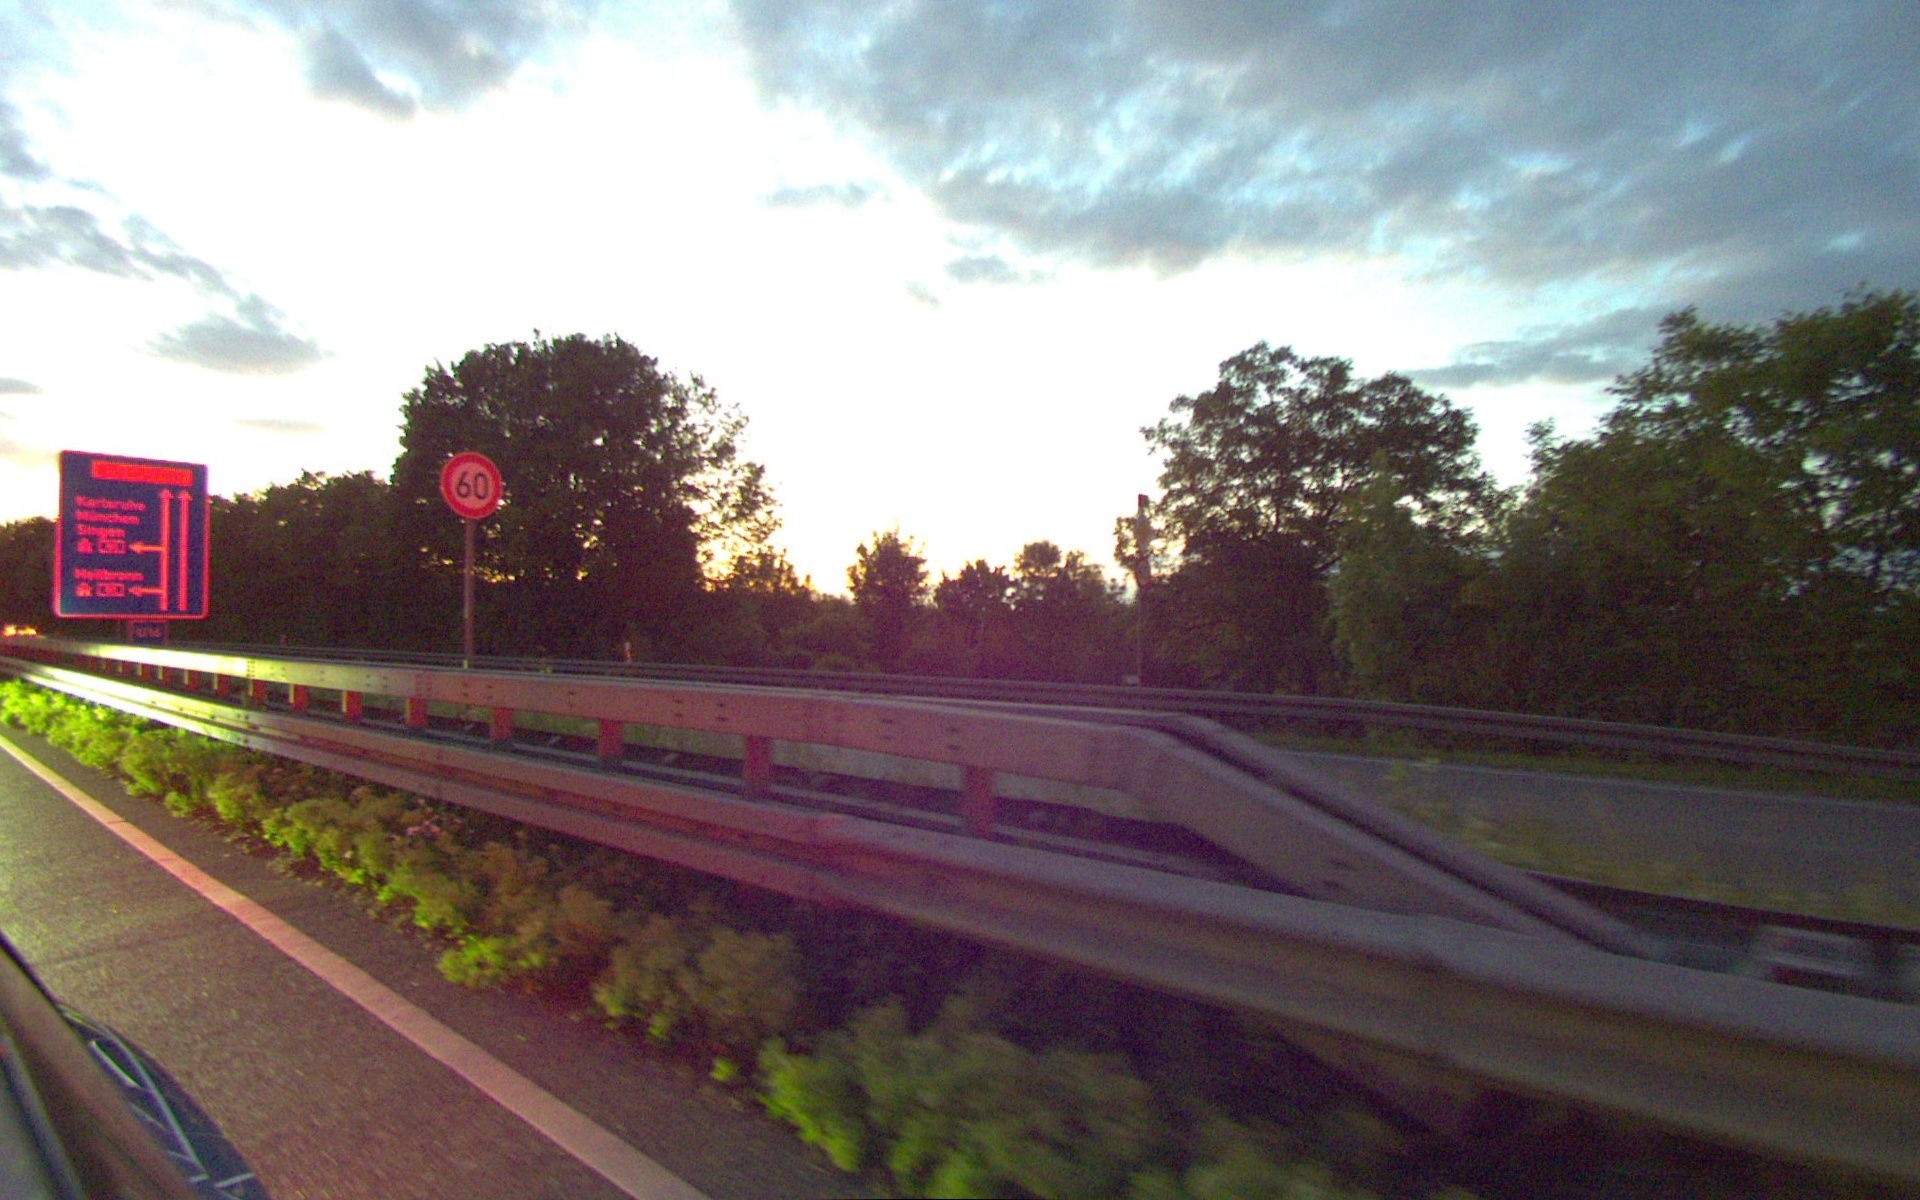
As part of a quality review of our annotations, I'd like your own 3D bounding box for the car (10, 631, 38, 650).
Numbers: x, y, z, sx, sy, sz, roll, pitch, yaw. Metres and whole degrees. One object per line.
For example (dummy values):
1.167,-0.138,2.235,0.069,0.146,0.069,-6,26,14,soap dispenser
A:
-86.961,3.729,94.057,1.772,1.684,4.508,1,-2,-41,car
